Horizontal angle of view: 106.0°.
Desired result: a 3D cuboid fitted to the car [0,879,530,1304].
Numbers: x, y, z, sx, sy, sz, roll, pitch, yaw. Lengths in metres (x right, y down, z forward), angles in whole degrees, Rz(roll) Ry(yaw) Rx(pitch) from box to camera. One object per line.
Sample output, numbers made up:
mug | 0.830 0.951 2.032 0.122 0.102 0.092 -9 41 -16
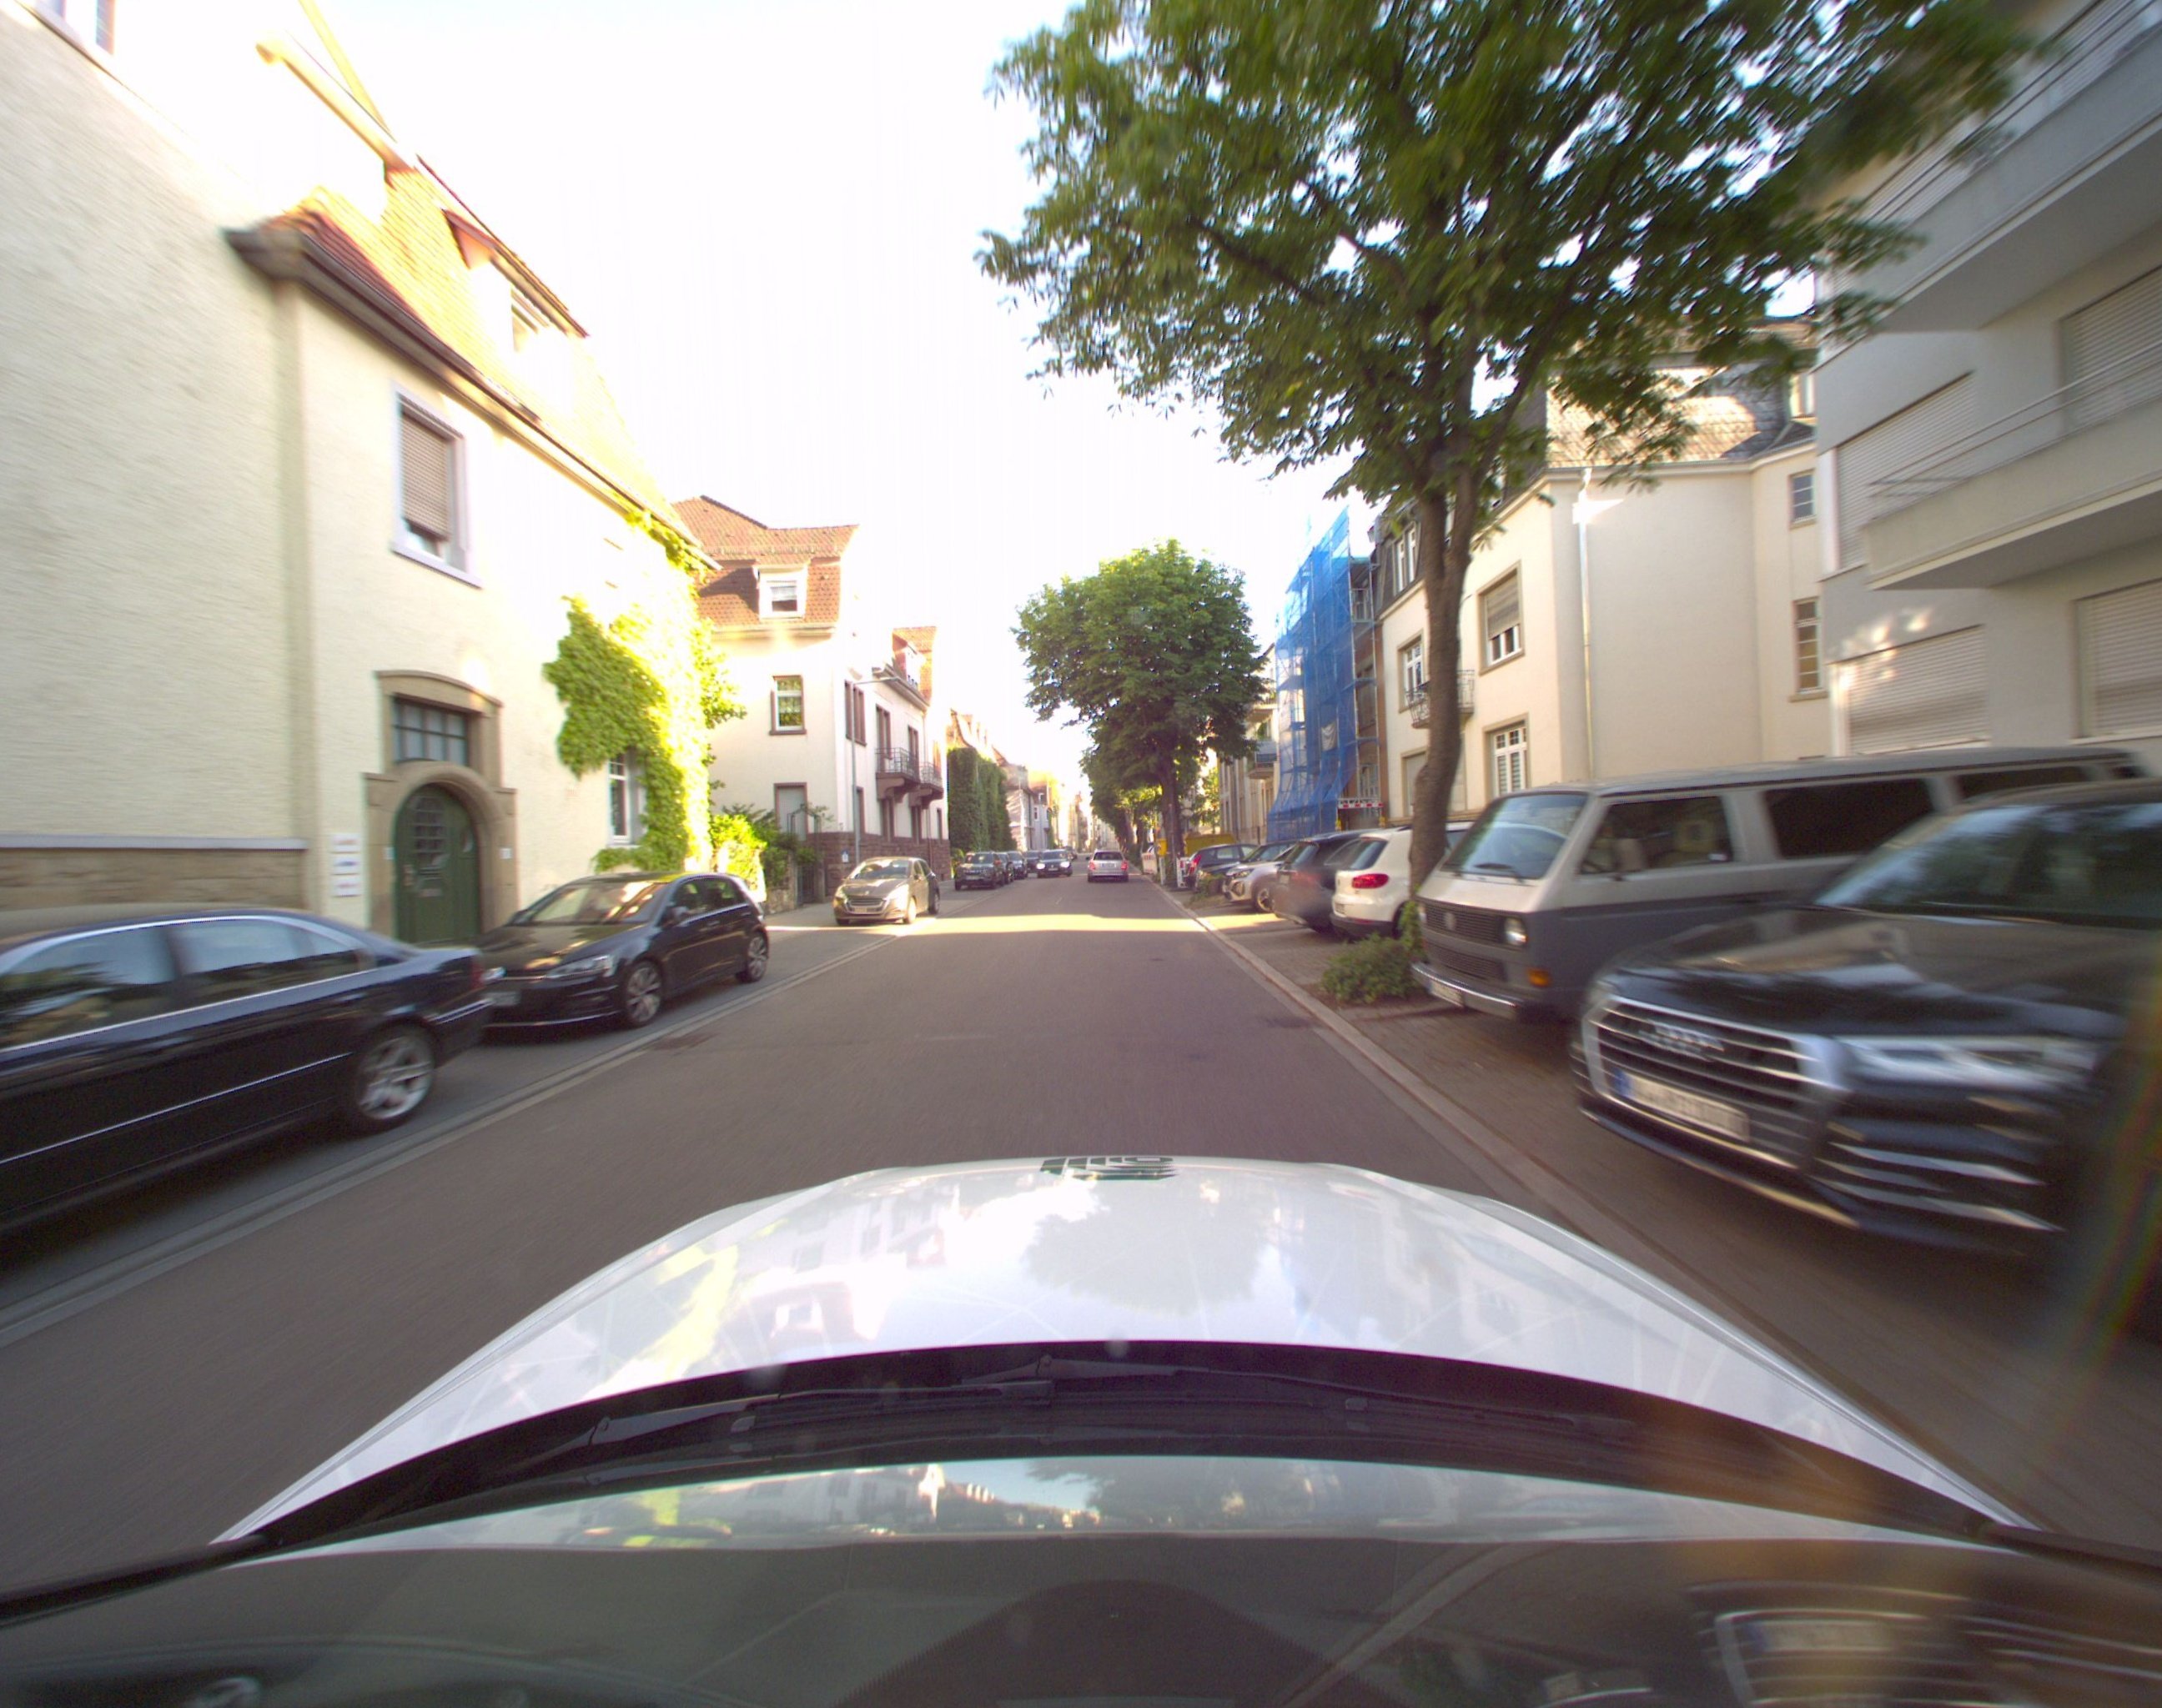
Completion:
car | -4.989 0.992 3.747 1.704 1.470 4.633 -2 1 0

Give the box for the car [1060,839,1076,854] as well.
car | -1.761 -1.059 109.923 1.975 1.947 4.852 -2 1 1

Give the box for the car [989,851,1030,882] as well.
car | -3.762 0.614 43.475 1.787 1.461 4.776 -2 1 -1

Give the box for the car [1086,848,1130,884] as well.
car | 1.213 0.490 36.061 1.777 1.437 3.853 -2 0 2

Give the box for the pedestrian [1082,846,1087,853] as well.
pedestrian | 0.831 -1.252 211.220 1.215 1.721 1.505 -2 1 5

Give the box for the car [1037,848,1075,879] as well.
car | -1.292 0.468 44.315 1.766 1.448 4.002 -4 1 1

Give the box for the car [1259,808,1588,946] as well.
car | 5.155 0.314 12.657 4.317 1.682 1.706 -4 1 1

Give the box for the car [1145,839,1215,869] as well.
car | 6.090 -0.015 50.334 4.127 1.534 1.688 -5 1 3

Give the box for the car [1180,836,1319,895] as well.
car | 5.226 0.336 25.645 3.971 1.492 1.852 -5 1 3

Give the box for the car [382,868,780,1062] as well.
car | -4.931 0.966 8.867 1.648 1.415 4.169 -2 1 1

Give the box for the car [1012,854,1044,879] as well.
car | -3.449 0.788 53.717 1.643 1.420 4.101 -2 1 2

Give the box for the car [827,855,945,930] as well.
car | -4.439 0.825 19.185 1.647 1.447 4.007 -2 1 2

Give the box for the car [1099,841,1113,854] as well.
car | 3.196 -0.840 102.580 1.617 1.569 3.683 -3 1 2

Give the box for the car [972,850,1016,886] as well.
car | -3.977 0.601 37.746 1.648 1.447 3.843 -2 1 -1

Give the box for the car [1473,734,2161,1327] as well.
car | 4.215 0.431 3.543 4.170 1.723 1.762 -3 0 -6

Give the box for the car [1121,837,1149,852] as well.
car | 8.402 -1.488 127.506 4.207 1.896 1.905 -4 1 -1

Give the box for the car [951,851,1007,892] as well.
car | -4.078 0.661 33.221 1.647 1.485 3.766 -2 1 2

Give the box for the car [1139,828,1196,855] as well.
car | 7.017 -1.001 66.269 4.299 1.807 2.001 -5 1 1

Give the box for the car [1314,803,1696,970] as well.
car | 5.209 0.374 10.437 3.931 1.682 1.708 -4 1 4

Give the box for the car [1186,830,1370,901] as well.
car | 5.477 0.303 23.112 4.701 1.535 1.852 -5 1 1

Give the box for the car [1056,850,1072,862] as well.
car | -2.032 0.195 98.213 1.524 1.319 4.232 -2 0 4

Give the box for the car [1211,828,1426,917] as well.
car | 5.131 0.372 18.004 4.141 1.539 1.852 -5 1 1

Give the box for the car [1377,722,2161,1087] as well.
car | 4.752 0.278 5.916 4.456 2.013 1.896 -3 1 -1
